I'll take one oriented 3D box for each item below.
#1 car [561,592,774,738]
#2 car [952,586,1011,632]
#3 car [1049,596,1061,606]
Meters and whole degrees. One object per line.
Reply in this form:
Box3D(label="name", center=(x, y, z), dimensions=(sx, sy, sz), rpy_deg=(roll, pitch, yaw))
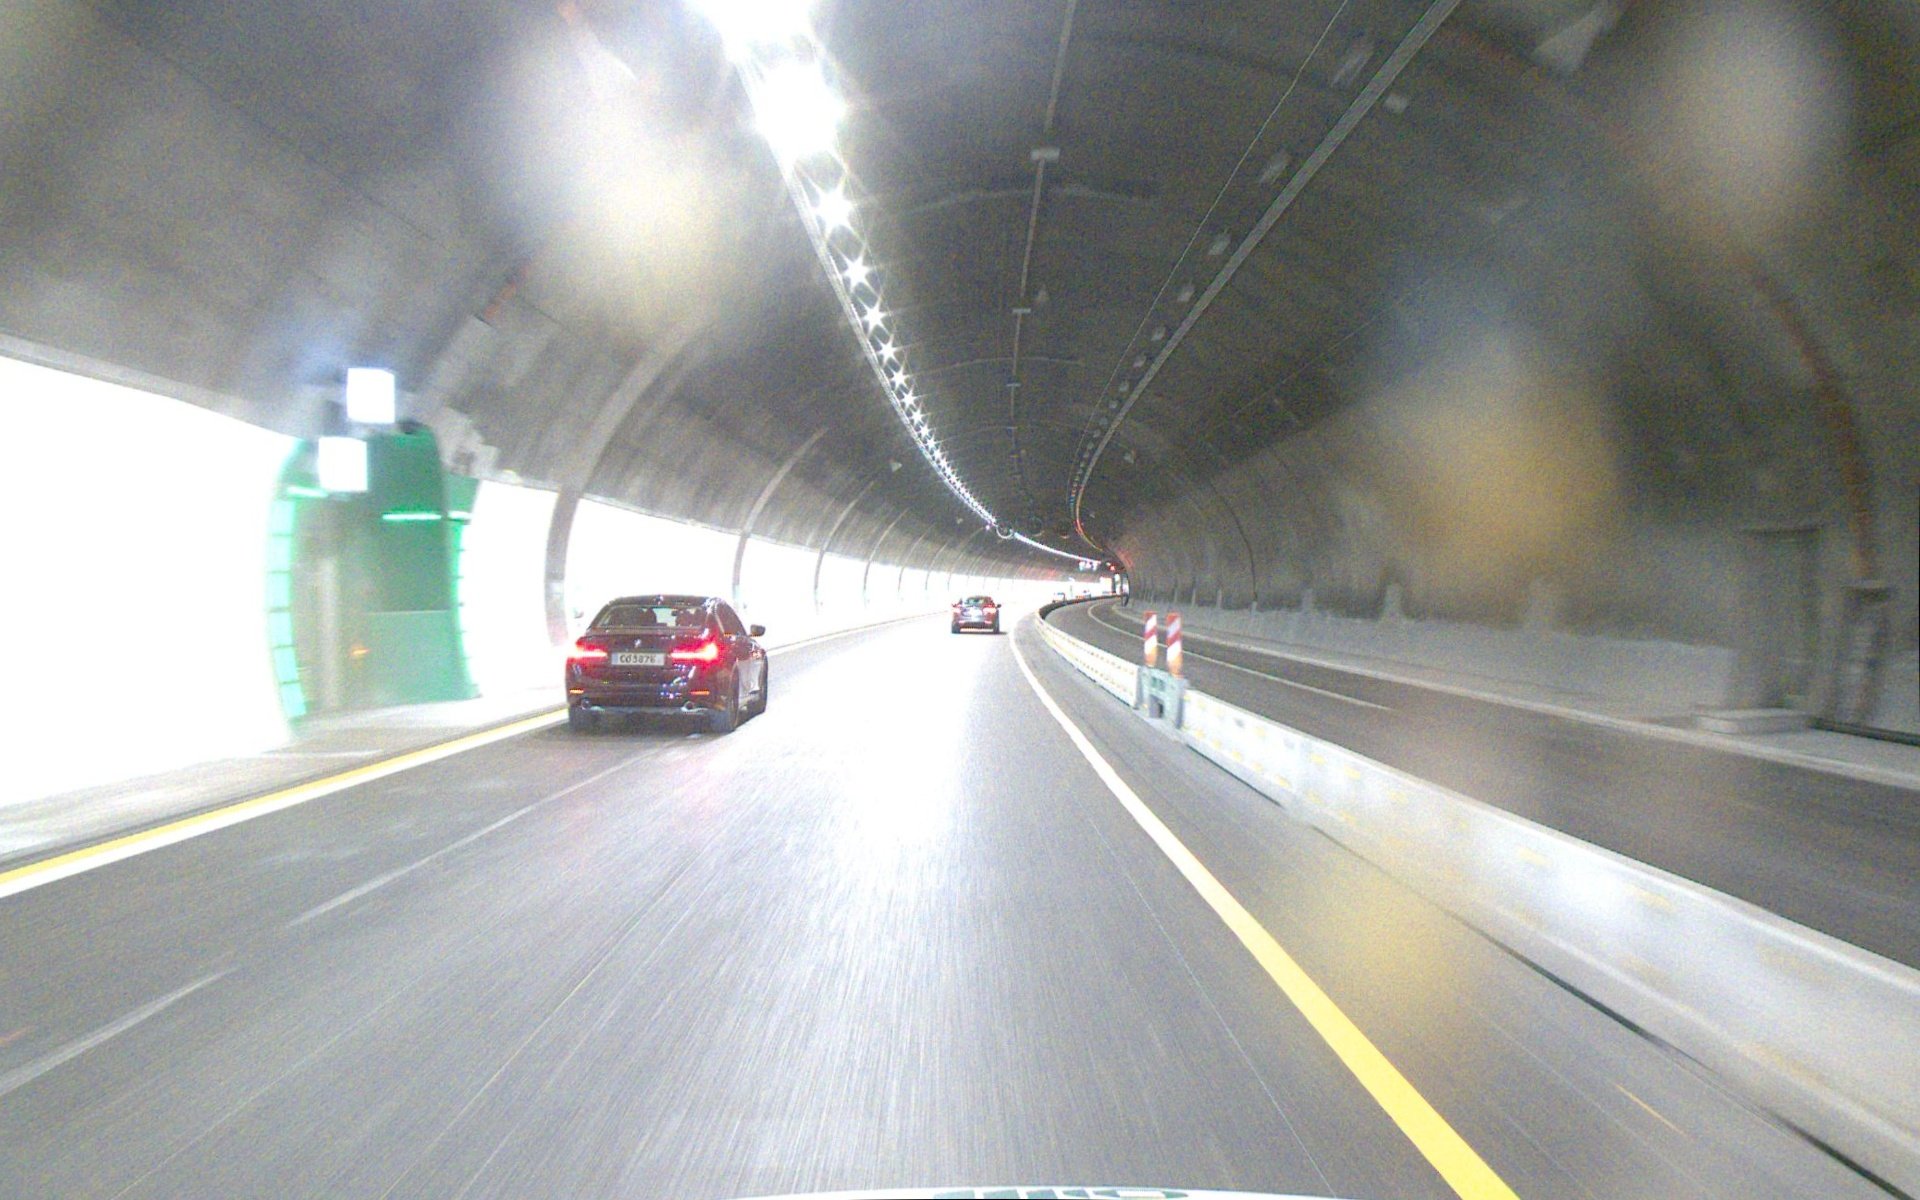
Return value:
Box3D(label="car", center=(-3.254, 0.654, 19.315), dimensions=(1.742, 1.463, 4.881), rpy_deg=(1, 0, -2))
Box3D(label="car", center=(0.863, 0.320, 63.881), dimensions=(2.096, 1.735, 4.002), rpy_deg=(0, 0, 3))
Box3D(label="car", center=(12.944, 0.167, 224.610), dimensions=(1.562, 1.356, 3.752), rpy_deg=(0, 0, 3))
